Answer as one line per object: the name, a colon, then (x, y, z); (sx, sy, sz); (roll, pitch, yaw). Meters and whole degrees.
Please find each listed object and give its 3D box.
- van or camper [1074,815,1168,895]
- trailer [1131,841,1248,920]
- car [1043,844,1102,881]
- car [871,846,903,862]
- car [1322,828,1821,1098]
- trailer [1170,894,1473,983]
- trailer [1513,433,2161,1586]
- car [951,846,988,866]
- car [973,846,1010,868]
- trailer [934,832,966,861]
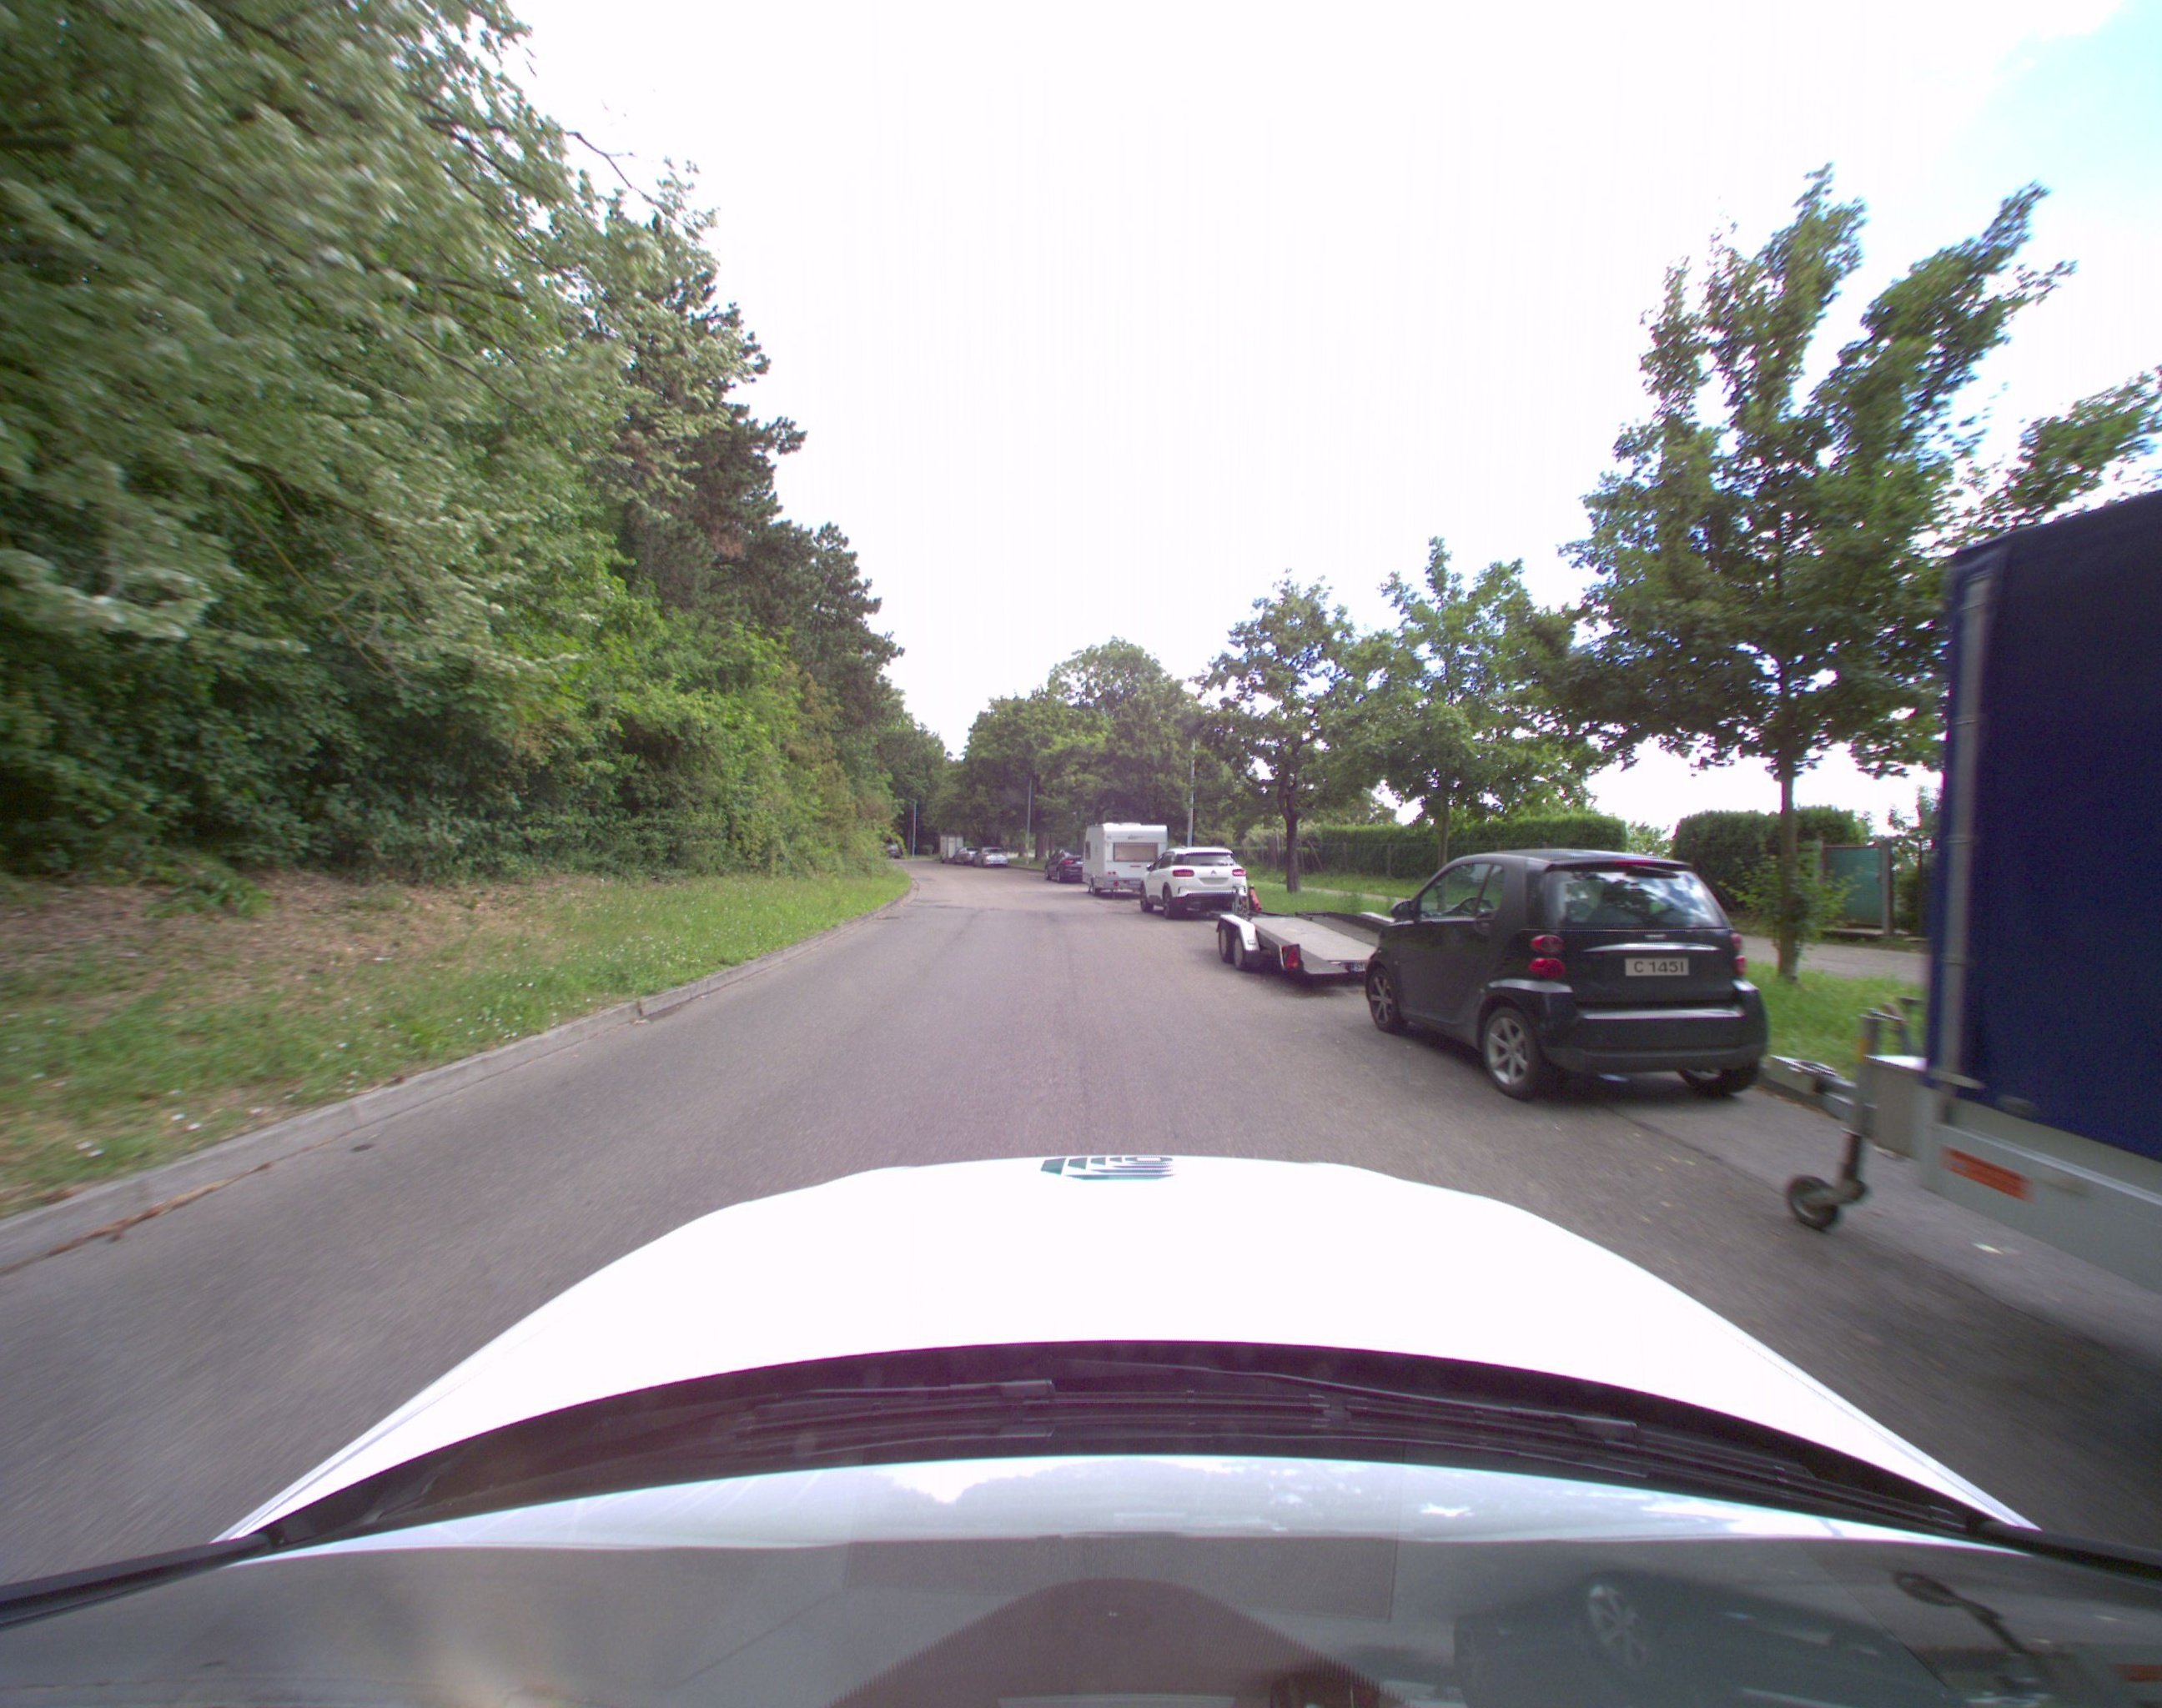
van or camper: (1.297, 0.055, 29.506); (2.161, 2.536, 6.012); (2, 0, -9)
trailer: (2.570, 0.619, 20.426); (1.771, 1.731, 4.638); (-1, -1, -7)
car: (-0.477, 0.366, 39.061); (1.851, 1.643, 4.508); (0, 0, -14)
car: (-20.650, -0.006, 86.622); (1.787, 1.663, 4.791); (2, -1, -33)
car: (3.349, 0.671, 6.380); (1.726, 1.522, 3.400); (1, -1, -4)
trailer: (2.968, 1.079, 11.986); (2.101, 0.651, 6.390); (1, 0, -5)
trailer: (3.258, 0.311, 1.690); (2.101, 2.361, 4.697); (-1, 2, -3)
car: (-8.963, 0.179, 65.161); (1.749, 1.525, 4.598); (0, 0, -25)
car: (-6.488, 0.240, 58.933); (1.907, 1.477, 4.034); (2, -2, -17)
trailer: (-11.300, -0.665, 70.001); (1.769, 2.427, 3.855); (0, 0, -25)
